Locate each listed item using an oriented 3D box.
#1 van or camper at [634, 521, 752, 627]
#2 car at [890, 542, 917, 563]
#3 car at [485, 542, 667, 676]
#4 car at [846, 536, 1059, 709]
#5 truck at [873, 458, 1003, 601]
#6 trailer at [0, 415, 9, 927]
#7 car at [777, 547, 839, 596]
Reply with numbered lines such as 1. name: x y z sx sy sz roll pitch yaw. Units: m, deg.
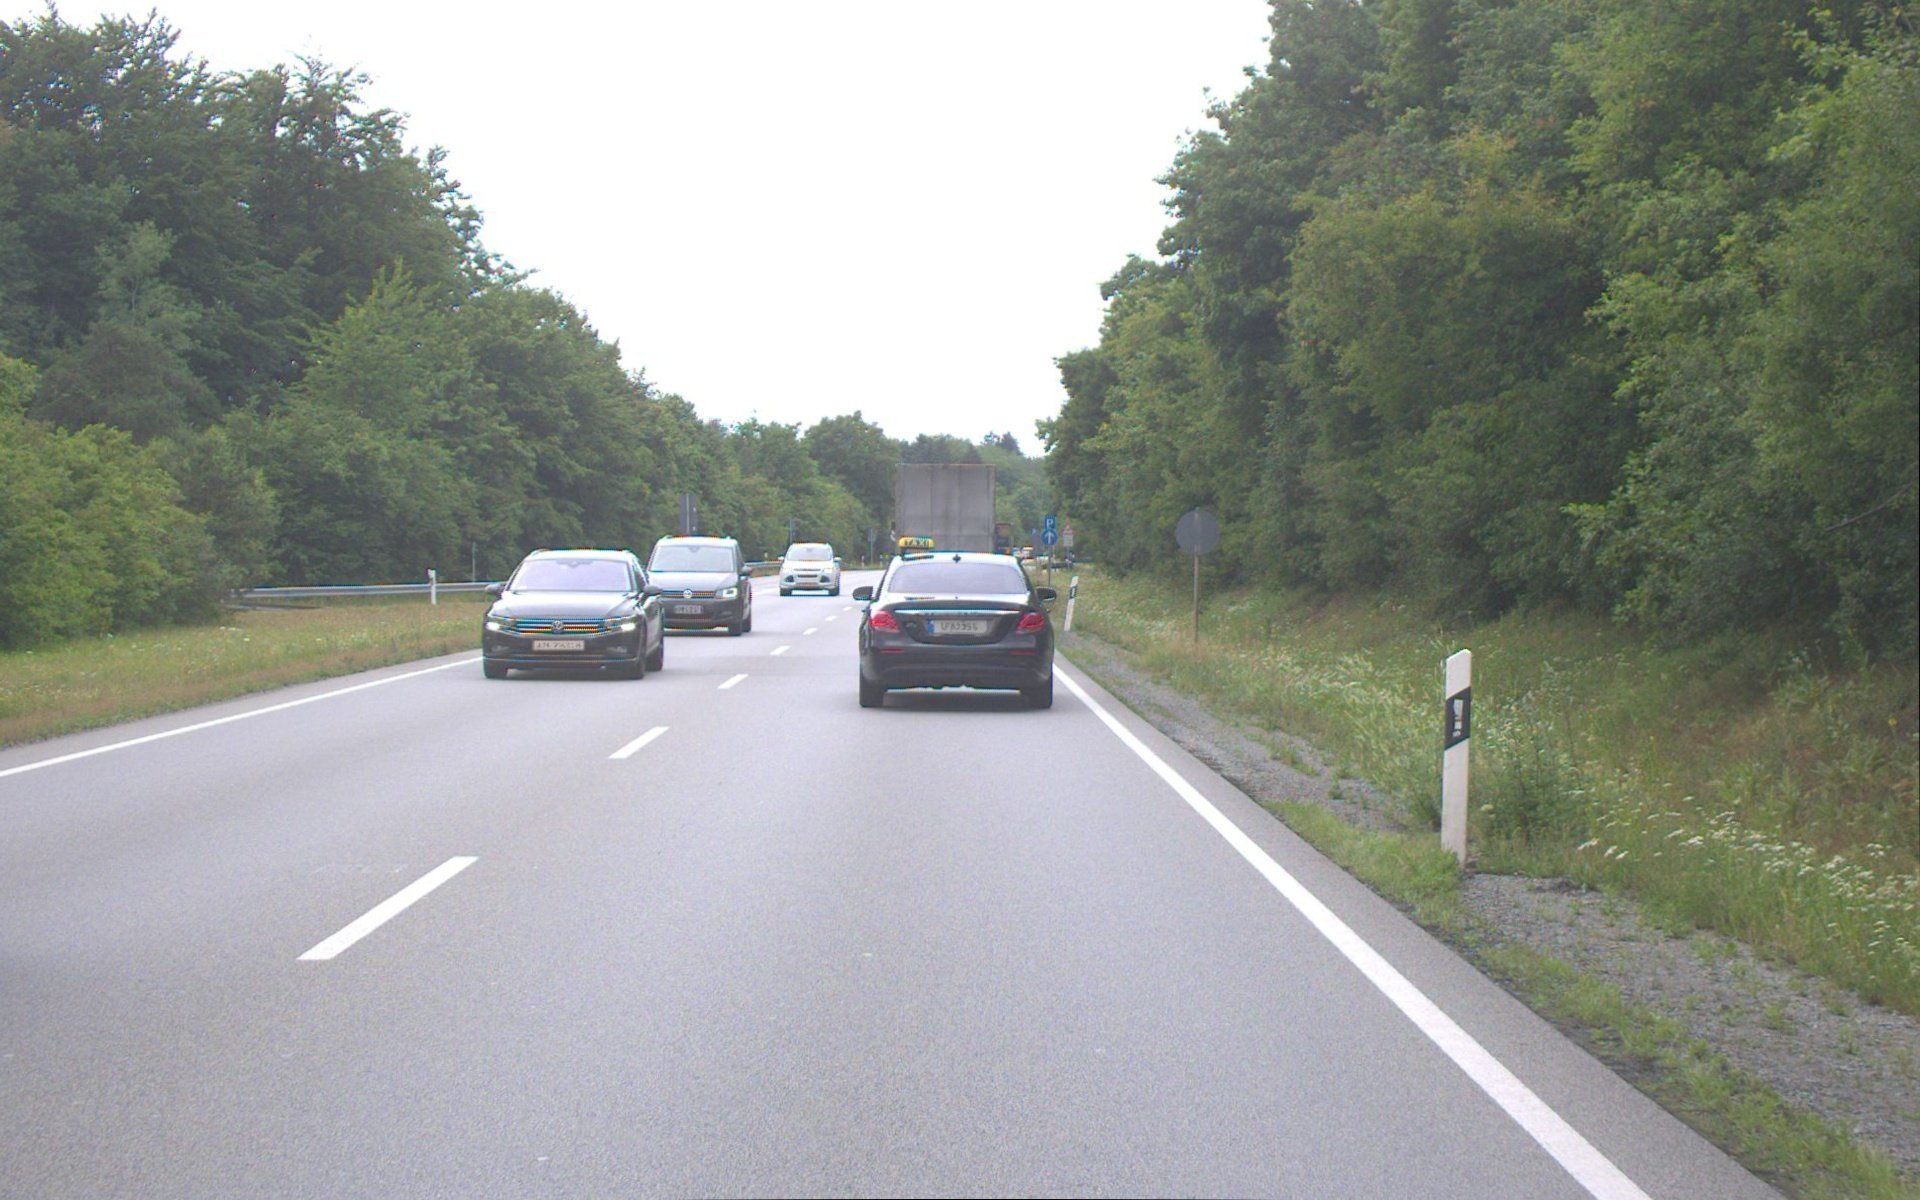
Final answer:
1. van or camper: -4.695 -0.473 60.846 1.993 1.777 4.423 1 1 -4
2. car: -3.907 -3.282 238.370 1.808 1.437 4.448 1 1 -2
3. car: -4.481 0.068 40.657 1.688 1.474 4.456 1 1 -1
4. car: -0.133 0.175 33.231 1.791 1.546 4.001 1 1 -4
5. truck: -0.527 -1.878 93.351 3.281 3.599 11.400 1 1 0
6. trailer: -4.325 0.280 10.854 1.622 1.886 3.784 1 1 -1
7. car: -4.927 -0.929 111.918 1.875 1.554 3.755 1 1 -1
